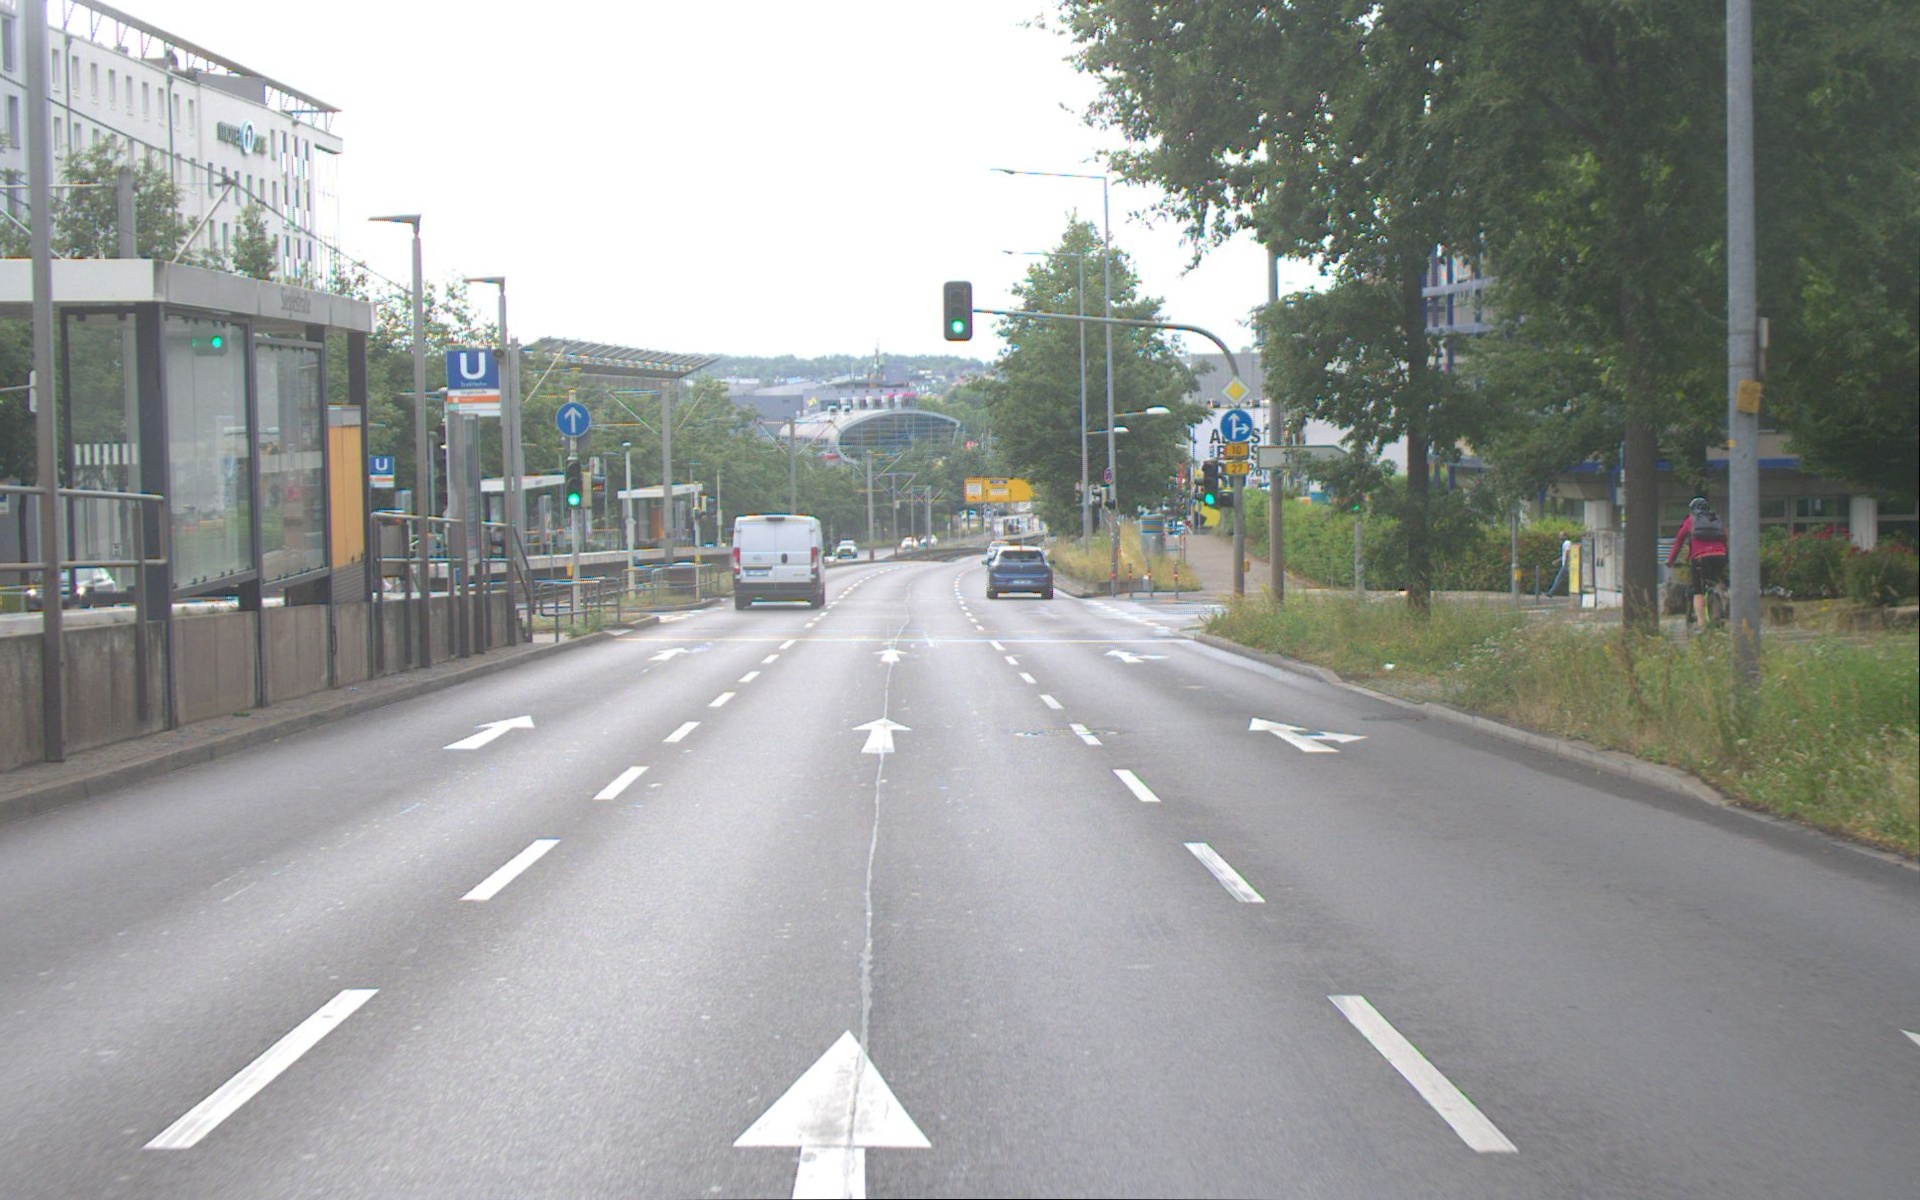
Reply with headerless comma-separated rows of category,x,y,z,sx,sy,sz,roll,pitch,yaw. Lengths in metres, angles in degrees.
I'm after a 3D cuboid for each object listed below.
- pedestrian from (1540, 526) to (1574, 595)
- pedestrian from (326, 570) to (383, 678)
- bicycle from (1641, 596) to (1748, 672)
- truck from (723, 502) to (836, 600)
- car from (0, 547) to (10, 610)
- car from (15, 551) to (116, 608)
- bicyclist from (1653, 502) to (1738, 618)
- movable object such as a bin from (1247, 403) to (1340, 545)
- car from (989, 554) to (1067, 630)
pedestrian,14.498,-0.961,83.476,0.554,1.646,0.832,-1,1,-10
pedestrian,-9.422,0.370,53.505,0.700,1.645,0.649,0,2,-29
bicycle,8.320,0.371,39.021,0.667,0.806,2.319,1,1,-1
truck,-4.324,-1.184,83.046,2.360,2.254,5.306,1,1,1
car,-22.676,-0.432,76.784,1.853,1.422,4.389,-2,1,-3
car,-23.436,-0.550,90.172,1.728,1.418,3.780,-1,1,-1
bicyclist,8.349,-0.459,39.051,0.655,1.284,1.219,1,1,-1
movable object such as a bin,13.853,-5.162,143.304,3.290,5.665,8.763,1,1,2
car,1.881,-0.242,94.433,1.994,2.007,3.934,1,1,3
